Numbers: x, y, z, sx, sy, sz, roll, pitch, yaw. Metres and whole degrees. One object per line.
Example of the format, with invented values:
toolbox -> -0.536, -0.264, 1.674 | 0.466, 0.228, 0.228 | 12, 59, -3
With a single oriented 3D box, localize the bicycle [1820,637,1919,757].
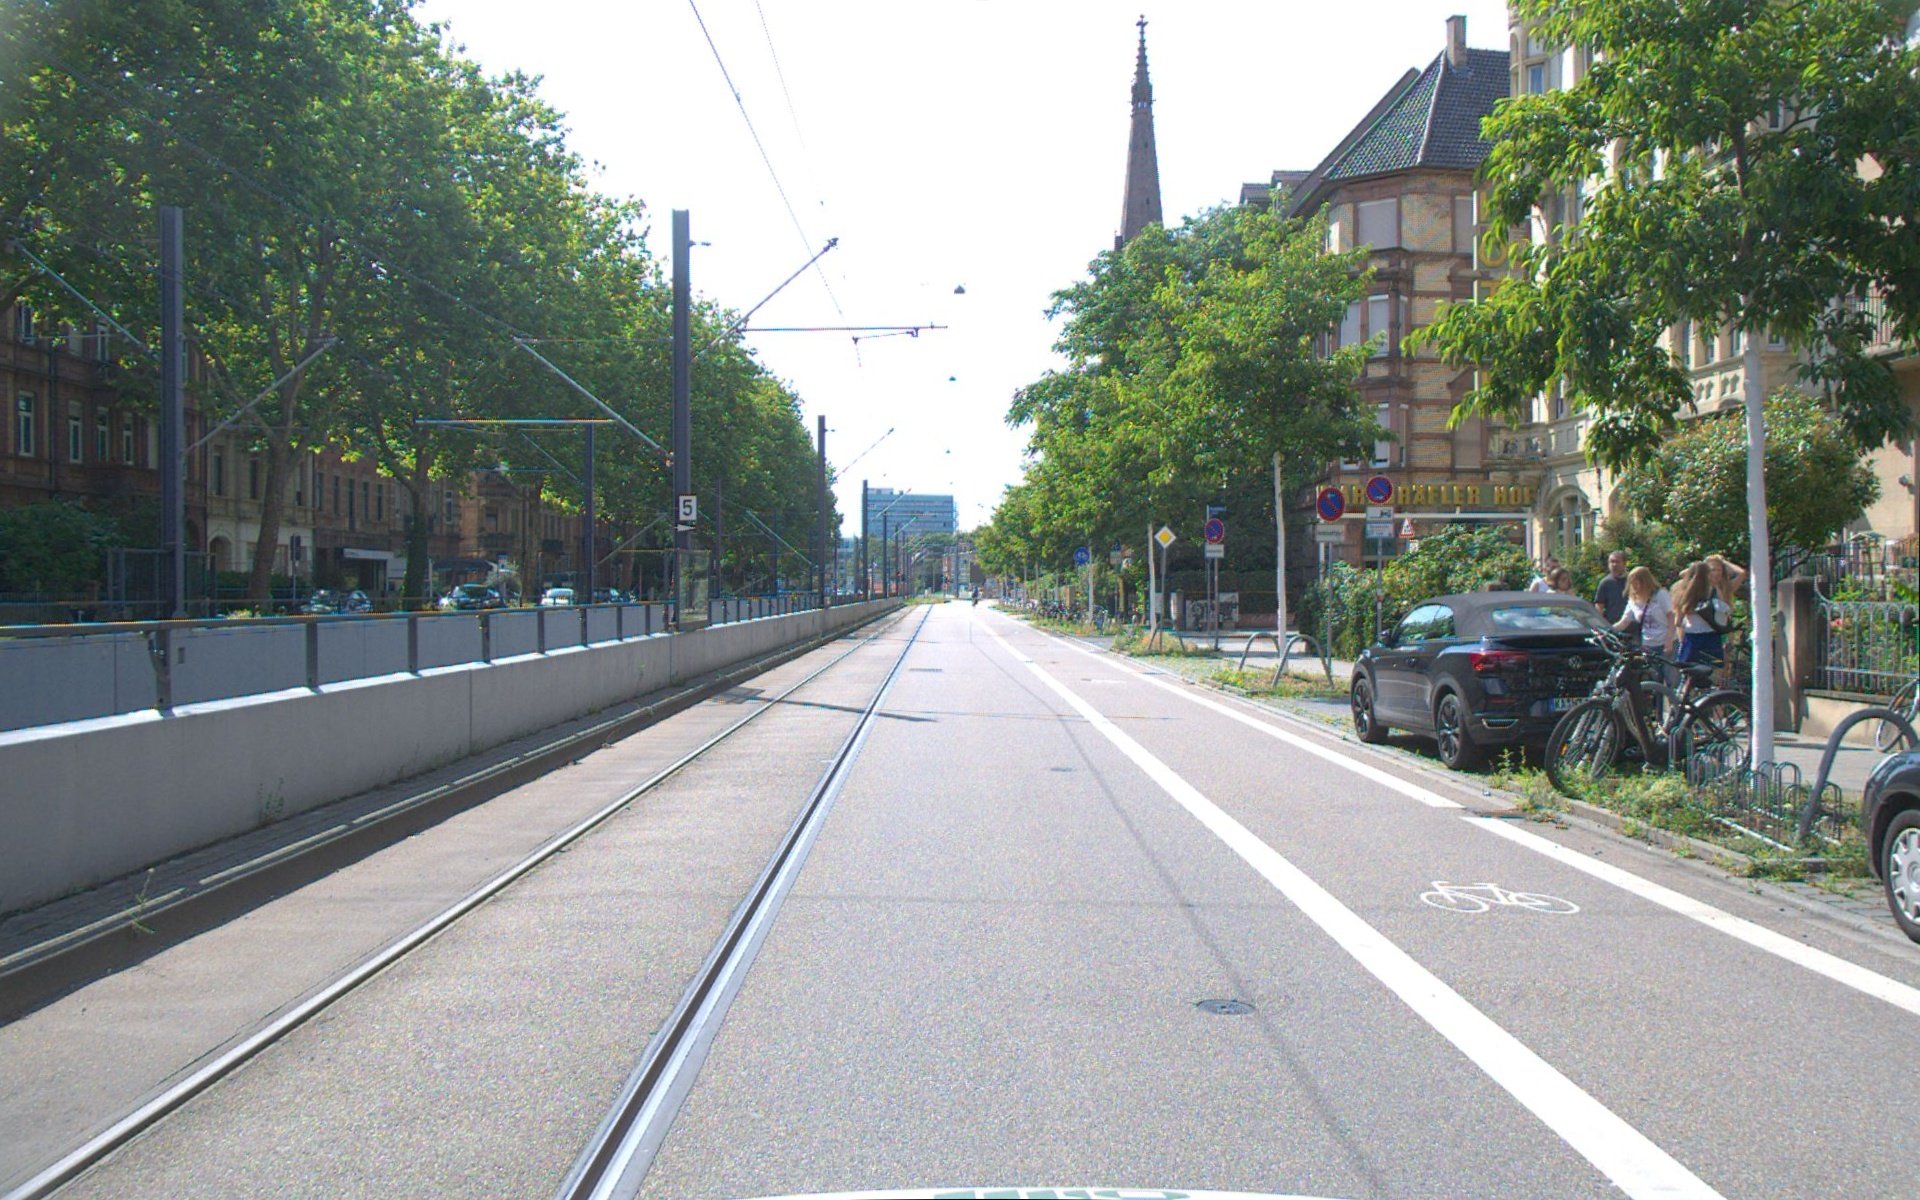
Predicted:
bicycle -> 8.289, 0.835, 14.570 | 0.419, 0.956, 1.807 | -3, 0, -1

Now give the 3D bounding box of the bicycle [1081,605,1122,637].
bicycle -> 4.864, 0.719, 57.099 | 0.640, 1.057, 1.810 | -3, 1, -22

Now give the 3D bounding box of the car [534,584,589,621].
car -> -20.284, 0.090, 84.310 | 1.801, 1.758, 4.000 | -3, 1, -1

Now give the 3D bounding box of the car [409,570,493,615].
car -> -20.286, -0.319, 66.120 | 1.952, 1.665, 4.001 | -3, 1, 1

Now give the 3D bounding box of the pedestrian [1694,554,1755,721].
pedestrian -> 8.106, 0.391, 17.549 | 0.376, 1.736, 0.431 | -2, 0, -1

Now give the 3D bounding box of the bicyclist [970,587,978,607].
bicyclist -> 1.210, -0.237, 144.022 | 0.755, 1.760, 1.026 | 0, 0, 0

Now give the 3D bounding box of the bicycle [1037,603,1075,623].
bicycle -> 4.629, 0.624, 79.847 | 1.780, 0.918, 0.603 | -2, 1, -4

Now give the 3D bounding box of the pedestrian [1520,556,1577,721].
pedestrian -> 6.662, 0.430, 18.731 | 0.450, 1.836, 0.319 | -2, 0, -2

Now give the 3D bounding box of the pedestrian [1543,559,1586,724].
pedestrian -> 6.502, 0.437, 17.788 | 0.311, 1.736, 0.461 | -2, 0, 13

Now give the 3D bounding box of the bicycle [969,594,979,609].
bicycle -> 1.212, 0.099, 144.073 | 0.783, 1.258, 2.777 | 0, 0, 0

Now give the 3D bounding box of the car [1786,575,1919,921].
car -> 5.066, 0.660, 6.133 | 1.651, 1.528, 4.708 | 0, 0, 0

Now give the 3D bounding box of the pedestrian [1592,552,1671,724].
pedestrian -> 7.351, 0.414, 18.113 | 0.656, 1.836, 0.319 | -2, 0, -3

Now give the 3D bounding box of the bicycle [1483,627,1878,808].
bicycle -> 5.504, 0.856, 12.640 | 2.896, 1.268, 0.790 | 0, 0, -14

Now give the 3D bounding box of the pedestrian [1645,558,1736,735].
pedestrian -> 7.267, 0.450, 16.464 | 0.520, 1.705, 0.571 | -3, 0, -19

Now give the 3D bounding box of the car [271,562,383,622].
car -> -19.466, -0.267, 51.038 | 1.682, 1.720, 3.732 | -2, 1, 6

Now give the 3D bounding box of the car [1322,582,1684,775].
car -> 5.064, 0.642, 16.152 | 1.763, 1.553, 4.485 | -2, 1, -4

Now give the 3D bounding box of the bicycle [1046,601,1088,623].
bicycle -> 4.856, 0.527, 74.915 | 1.780, 0.918, 0.651 | -2, 1, -4

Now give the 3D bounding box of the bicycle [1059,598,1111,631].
bicycle -> 4.710, 0.546, 62.272 | 1.784, 1.165, 0.650 | -3, 1, -12

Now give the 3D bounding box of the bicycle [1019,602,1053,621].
bicycle -> 4.198, 0.624, 91.105 | 1.780, 0.918, 0.603 | -2, 1, -4

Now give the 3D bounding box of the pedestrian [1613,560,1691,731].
pedestrian -> 7.240, 0.468, 17.309 | 0.493, 1.736, 0.493 | -3, 0, -19

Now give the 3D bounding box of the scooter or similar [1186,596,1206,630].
scooter or similar -> 8.324, 0.441, 58.457 | 0.451, 1.178, 1.573 | -1, 0, 0
